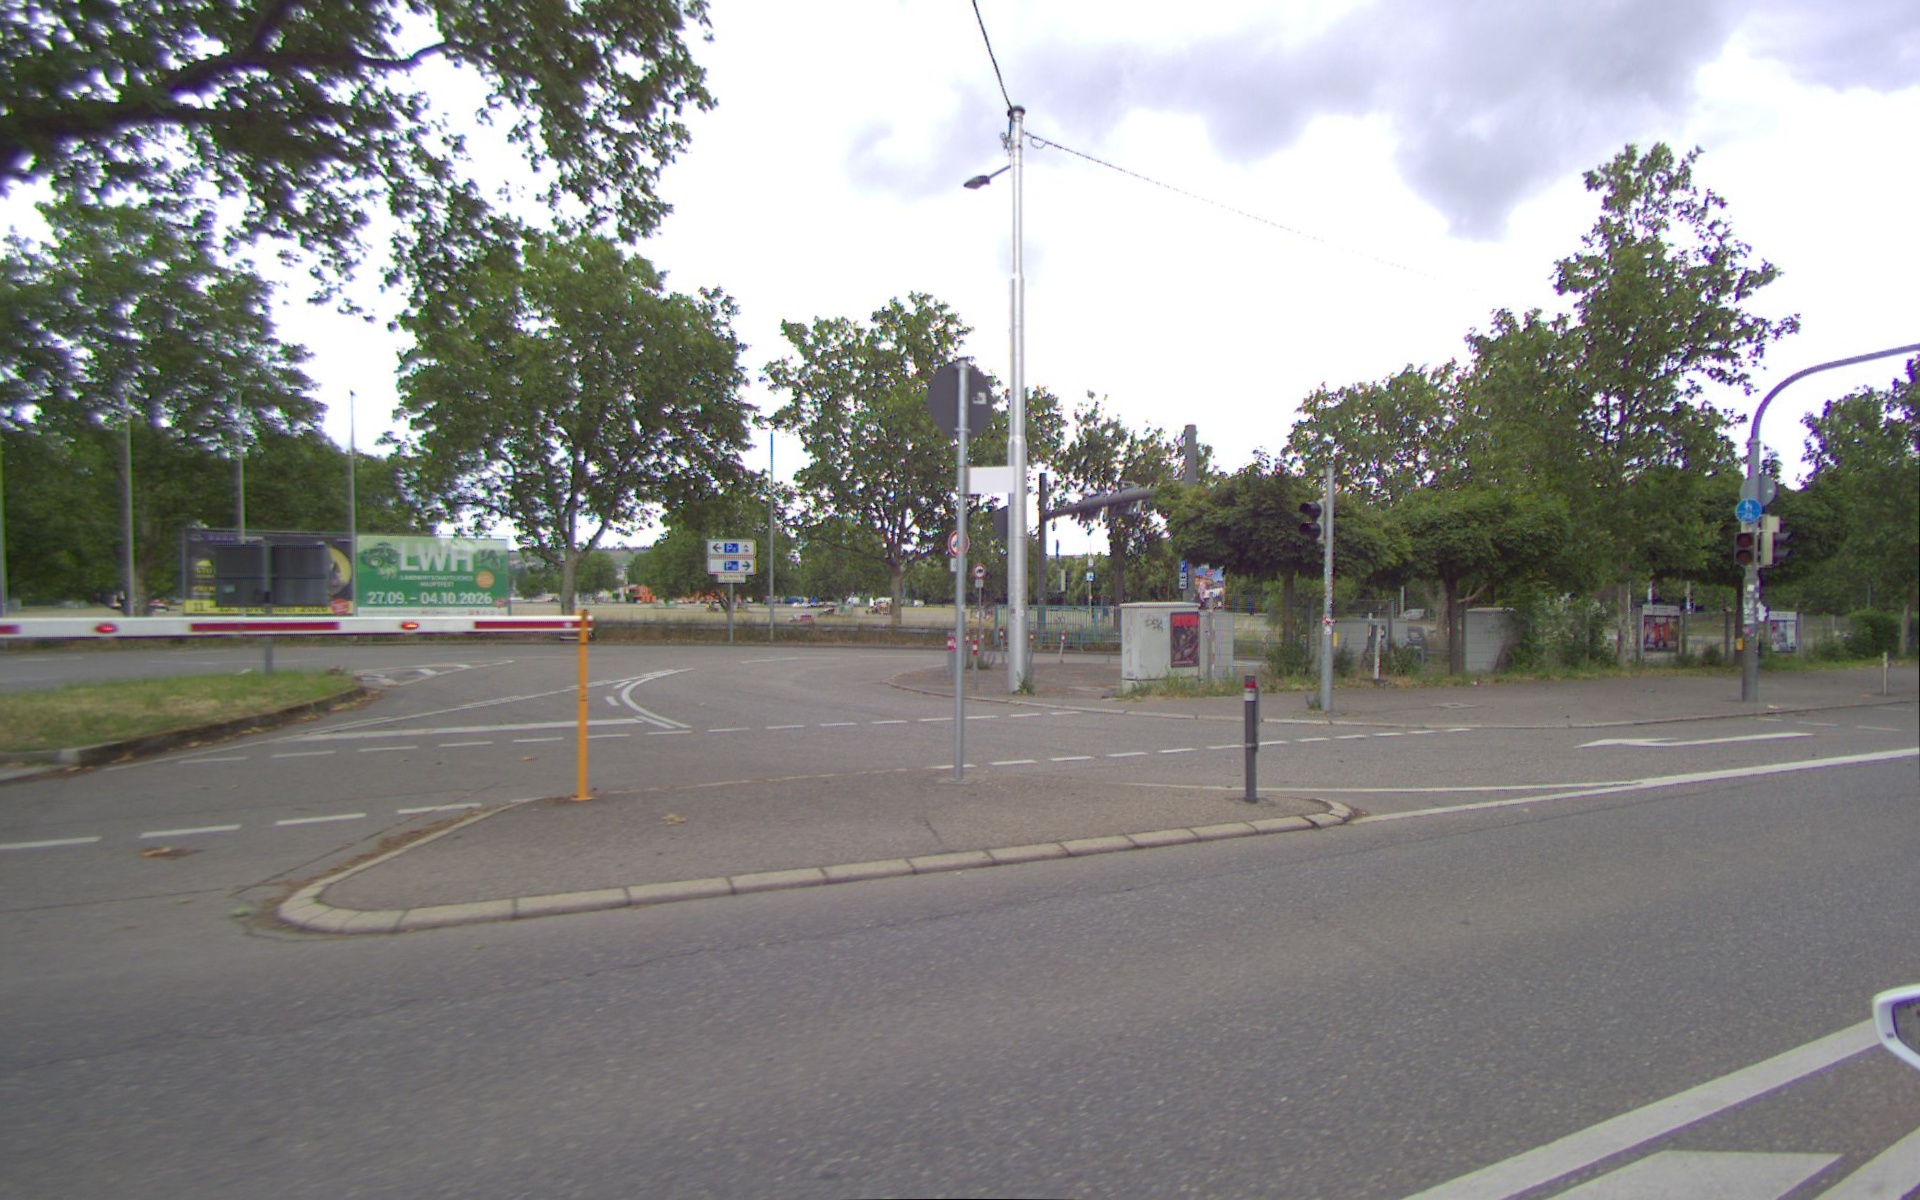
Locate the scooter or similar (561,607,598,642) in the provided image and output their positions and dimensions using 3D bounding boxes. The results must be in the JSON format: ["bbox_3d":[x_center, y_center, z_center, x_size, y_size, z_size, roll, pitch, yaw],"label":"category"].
[{"bbox_3d":[-13.739,0.888,36.269,1.201,1.238,0.414,1,1,-19],"label":"scooter or similar"}]

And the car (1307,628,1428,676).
[{"bbox_3d":[17.252,2.207,42.553,4.518,1.860,1.880,1,2,-17],"label":"car"}]
